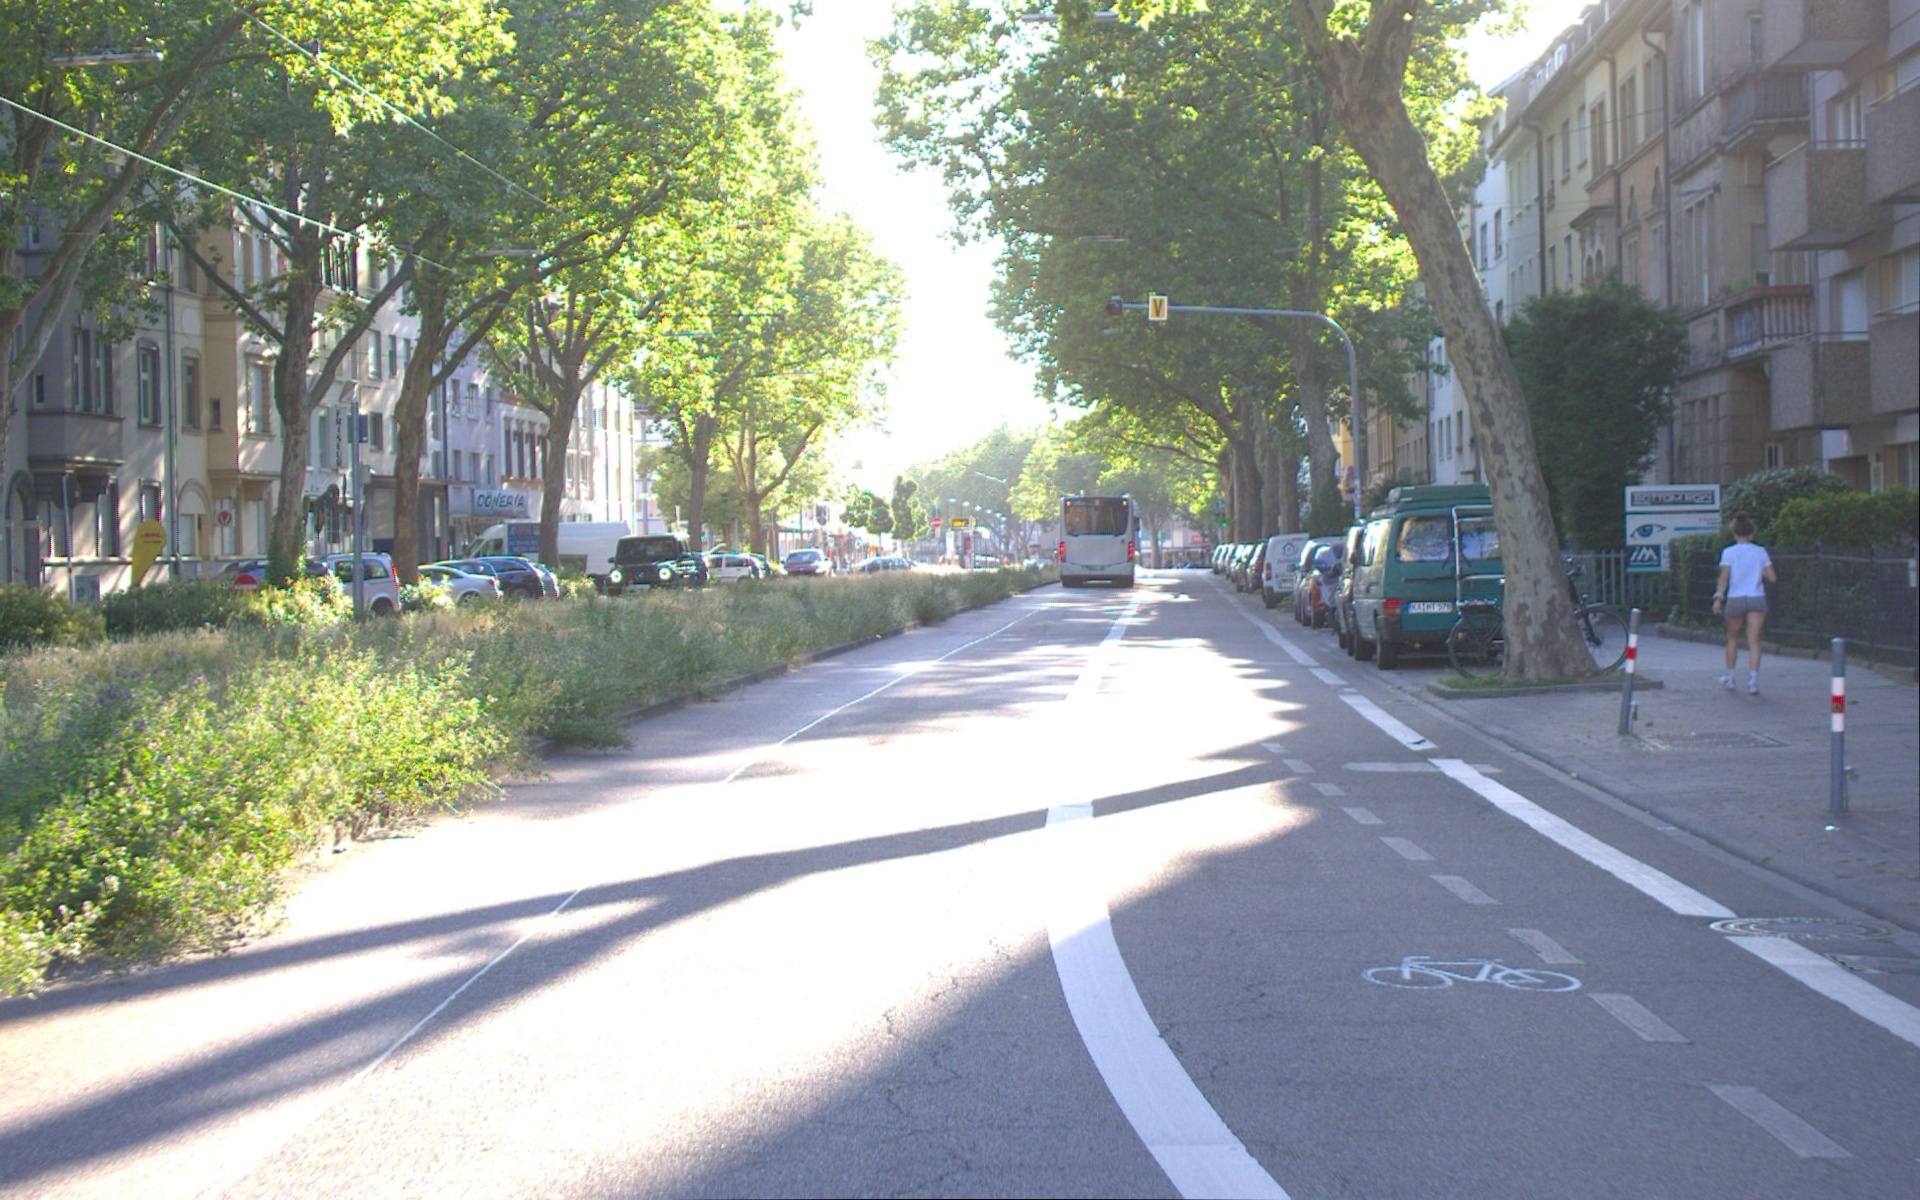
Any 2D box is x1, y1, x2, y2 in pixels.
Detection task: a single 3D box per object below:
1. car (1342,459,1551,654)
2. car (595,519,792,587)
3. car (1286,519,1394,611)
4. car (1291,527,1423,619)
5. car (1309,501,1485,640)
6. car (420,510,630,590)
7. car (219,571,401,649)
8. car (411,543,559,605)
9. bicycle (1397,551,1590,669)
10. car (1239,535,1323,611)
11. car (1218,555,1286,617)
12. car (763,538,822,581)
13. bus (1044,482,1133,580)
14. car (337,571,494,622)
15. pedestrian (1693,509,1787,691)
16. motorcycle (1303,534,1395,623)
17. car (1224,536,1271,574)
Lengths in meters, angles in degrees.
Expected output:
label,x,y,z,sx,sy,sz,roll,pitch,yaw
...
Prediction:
label,x,y,z,sx,sy,sz,roll,pitch,yaw
car,5.964,-0.521,42.738,1.993,2.249,5.235,-1,0,2
car,-6.962,-1.239,89.972,4.760,1.688,1.875,-1,0,-30
car,7.253,-0.667,65.919,1.744,1.684,3.852,-1,0,2
car,6.993,-0.472,60.861,1.993,1.555,3.980,-1,0,2
car,6.063,-0.405,48.187,1.993,1.823,4.757,-1,0,2
car,-15.169,-1.746,119.812,6.935,2.669,2.186,-1,0,-17
car,-16.350,0.234,86.539,3.988,1.875,1.999,-1,0,-37
car,-14.388,-0.787,104.198,3.987,1.693,1.856,-3,1,-28
bicycle,5.284,0.099,34.065,1.845,1.139,0.348,-1,0,3
car,7.779,-0.649,83.112,1.745,1.764,4.393,-1,0,9
car,8.665,-0.417,102.372,1.744,1.764,4.988,-1,0,2
car,-6.407,-1.561,131.475,1.790,1.568,4.000,-1,1,4
bus,4.427,-2.342,119.618,2.833,3.224,8.182,-1,0,1
car,-15.080,-0.104,95.295,3.986,1.351,1.586,-1,0,-28
pedestrian,7.108,-0.004,31.356,0.663,1.623,0.923,-1,0,3
motorcycle,6.391,-0.364,56.619,0.823,1.393,2.380,-3,1,-9
car,11.952,-1.865,143.035,1.781,1.510,4.000,-1,1,3
